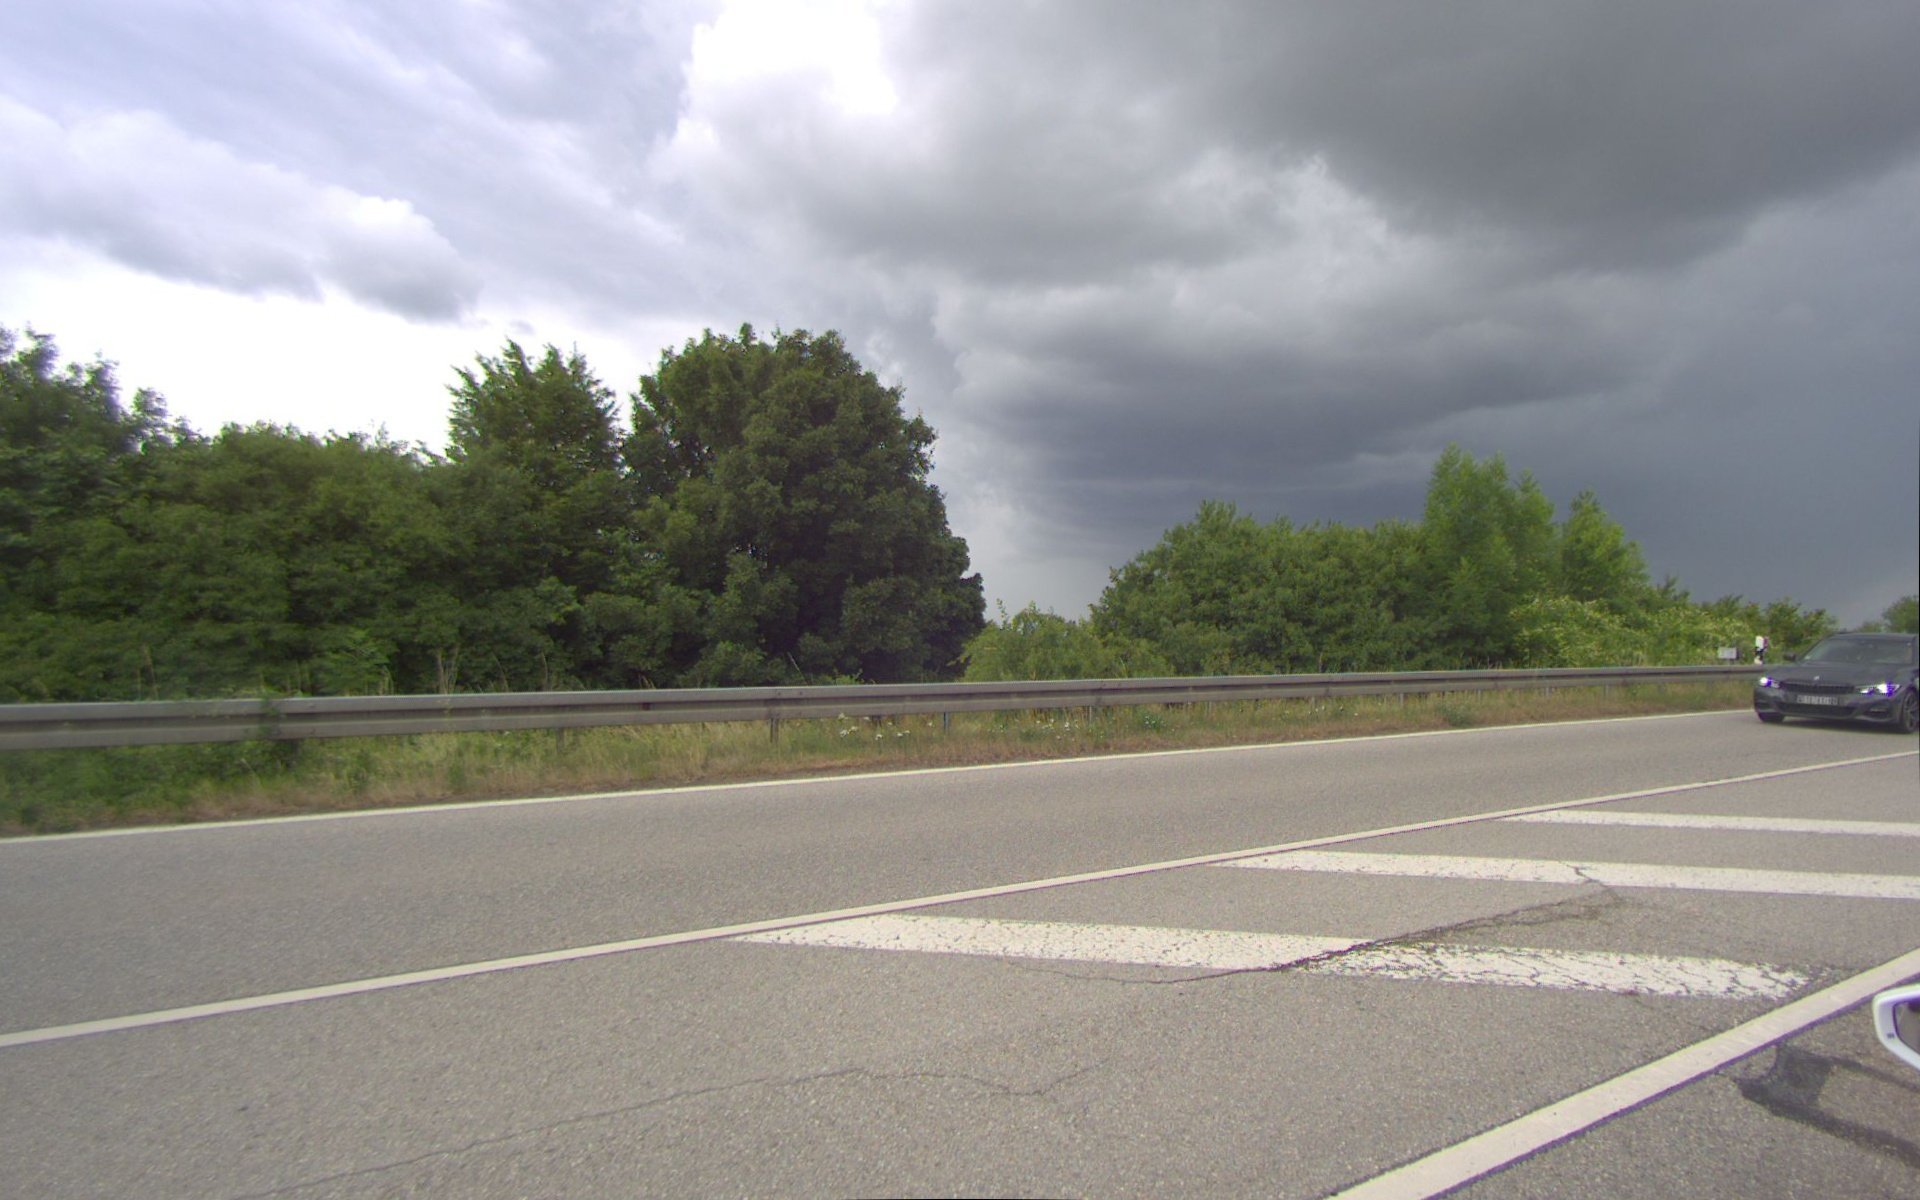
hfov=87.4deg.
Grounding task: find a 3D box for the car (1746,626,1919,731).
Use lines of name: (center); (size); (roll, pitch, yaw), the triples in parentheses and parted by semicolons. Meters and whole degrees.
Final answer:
car: (14.601, 1.188, 16.086); (4.396, 1.469, 1.790); (2, -2, -32)
